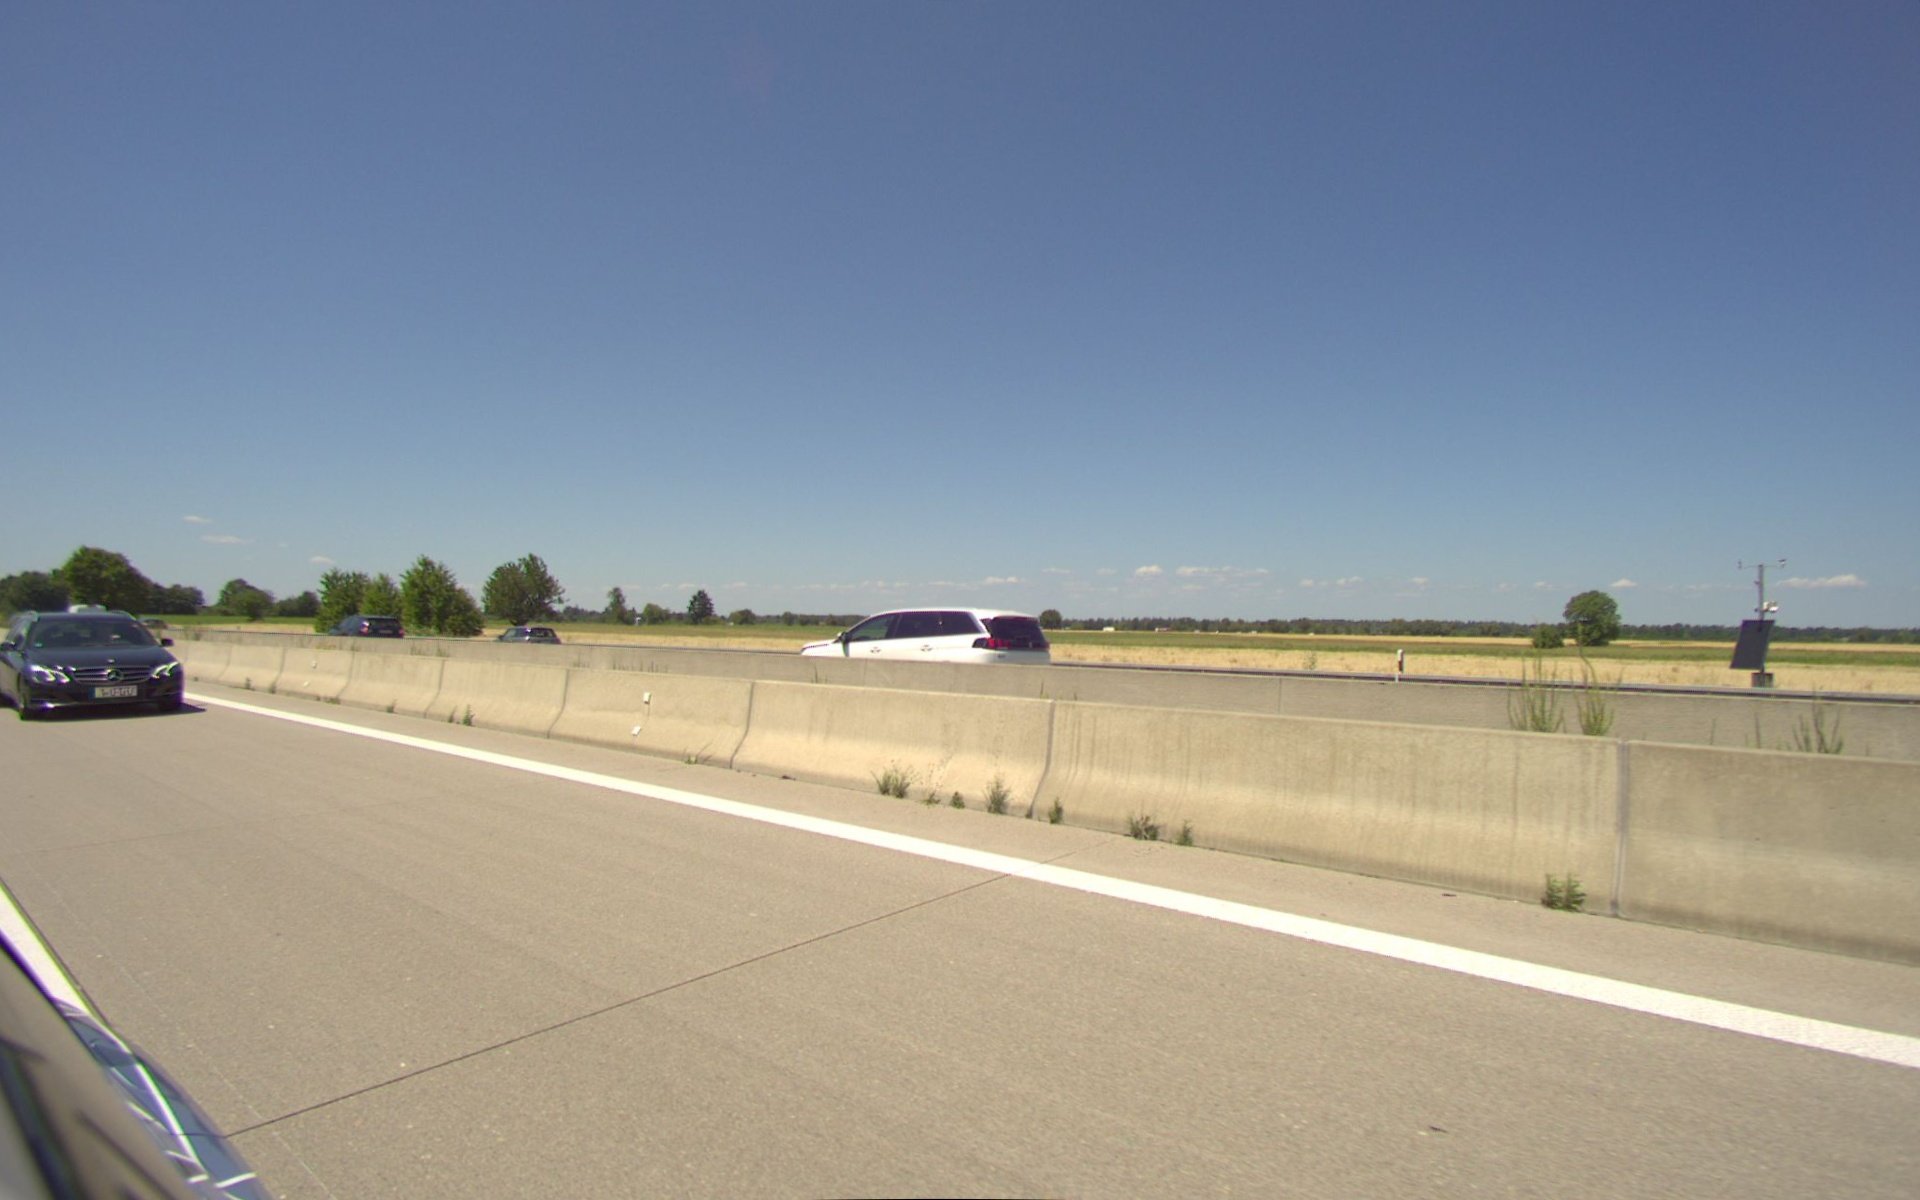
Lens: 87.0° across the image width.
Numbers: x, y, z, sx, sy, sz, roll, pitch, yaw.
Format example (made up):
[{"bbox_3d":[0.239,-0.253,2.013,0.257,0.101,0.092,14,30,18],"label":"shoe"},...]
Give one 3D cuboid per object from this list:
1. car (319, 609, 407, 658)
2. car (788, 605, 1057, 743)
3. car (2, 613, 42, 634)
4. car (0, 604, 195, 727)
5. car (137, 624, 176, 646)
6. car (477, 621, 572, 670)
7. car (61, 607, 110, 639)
[{"bbox_3d":[-25.058,1.350,42.413,4.401,1.929,1.972,-1,-1,43],"label":"car"},{"bbox_3d":[-0.672,1.039,15.813,3.998,1.874,1.886,-1,-1,41],"label":"car"},{"bbox_3d":[-73.945,1.836,79.769,4.587,1.630,1.972,-1,-1,43],"label":"car"},{"bbox_3d":[-13.137,0.893,15.227,3.938,1.597,1.824,-1,-1,41],"label":"car"},{"bbox_3d":[-66.161,2.830,83.276,4.840,1.696,1.735,-1,-1,42],"label":"car"},{"bbox_3d":[-17.389,1.771,40.333,3.998,1.796,1.973,-1,-1,41],"label":"car"},{"bbox_3d":[-72.152,1.874,83.444,6.121,2.539,2.190,-1,-1,41],"label":"car"}]
